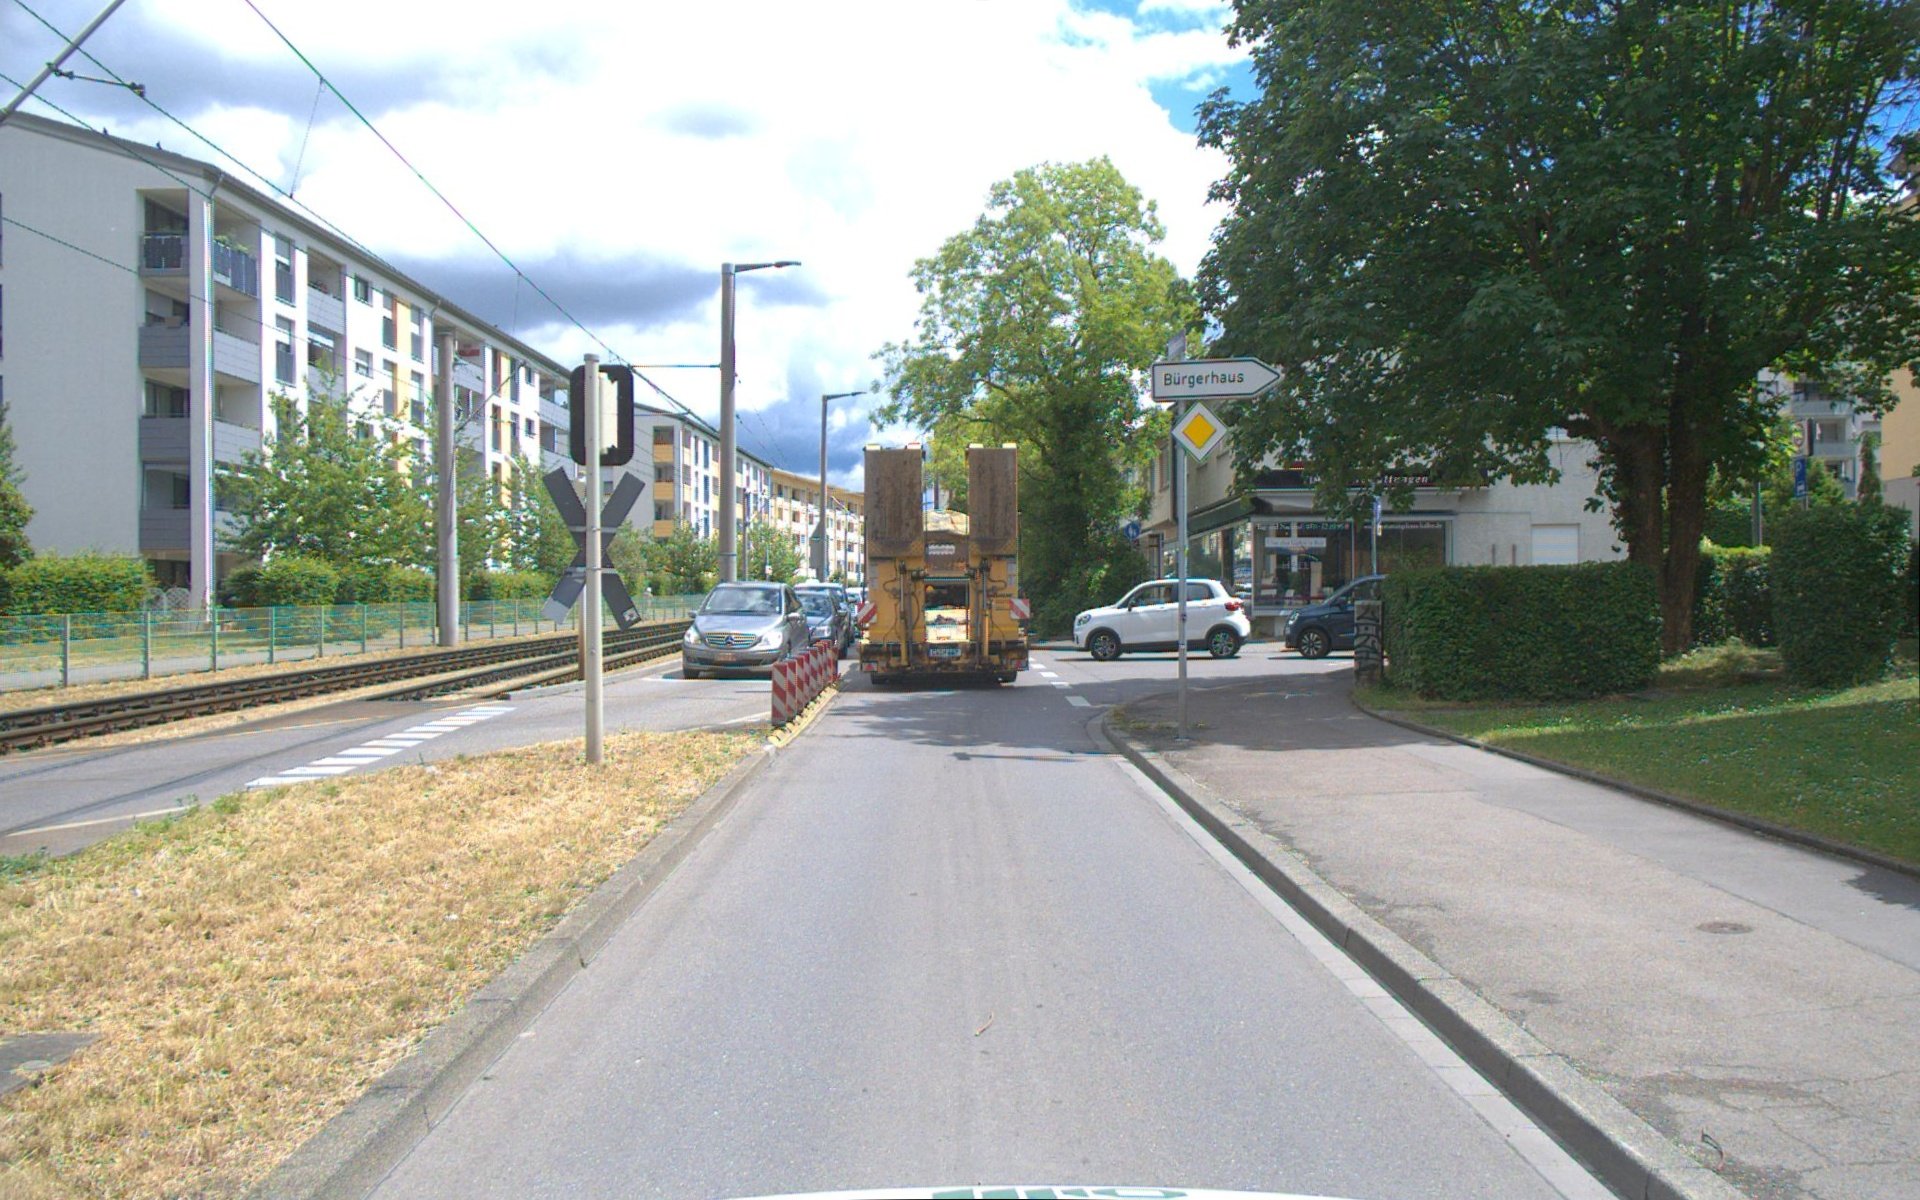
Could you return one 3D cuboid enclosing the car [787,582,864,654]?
[{"bbox_3d":[-3.463,0.466,43.253,1.568,1.762,3.939,-2,0,1],"label":"car"}]

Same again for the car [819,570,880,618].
[{"bbox_3d":[-3.902,-0.245,58.836,1.953,1.546,3.890,-2,1,-2],"label":"car"}]

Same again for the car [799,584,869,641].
[{"bbox_3d":[-3.924,0.359,51.975,1.953,1.621,3.890,-2,1,-2],"label":"car"}]

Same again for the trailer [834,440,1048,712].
[{"bbox_3d":[-0.620,-0.480,29.643,2.990,3.838,11.605,-2,1,-4],"label":"trailer"}]

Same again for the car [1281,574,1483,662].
[{"bbox_3d":[8.152,0.338,31.955,3.619,1.549,2.002,-1,1,16],"label":"car"}]

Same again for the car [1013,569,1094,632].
[{"bbox_3d":[2.628,-0.028,47.425,1.953,1.646,3.999,-2,1,-2],"label":"car"}]

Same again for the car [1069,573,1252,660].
[{"bbox_3d":[4.081,0.332,33.368,3.521,1.612,2.002,-1,0,11],"label":"car"}]

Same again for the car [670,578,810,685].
[{"bbox_3d":[-3.731,0.520,28.702,1.765,1.681,4.132,-2,0,1],"label":"car"}]

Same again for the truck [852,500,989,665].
[{"bbox_3d":[-1.074,-0.458,38.781,2.778,3.388,7.979,-2,1,-4],"label":"truck"}]

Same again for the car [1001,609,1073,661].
[{"bbox_3d":[2.396,1.066,52.314,1.953,1.411,3.999,-2,1,-2],"label":"car"}]

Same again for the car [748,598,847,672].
[{"bbox_3d":[-3.330,0.696,34.486,1.568,1.405,3.957,-2,0,1],"label":"car"}]
